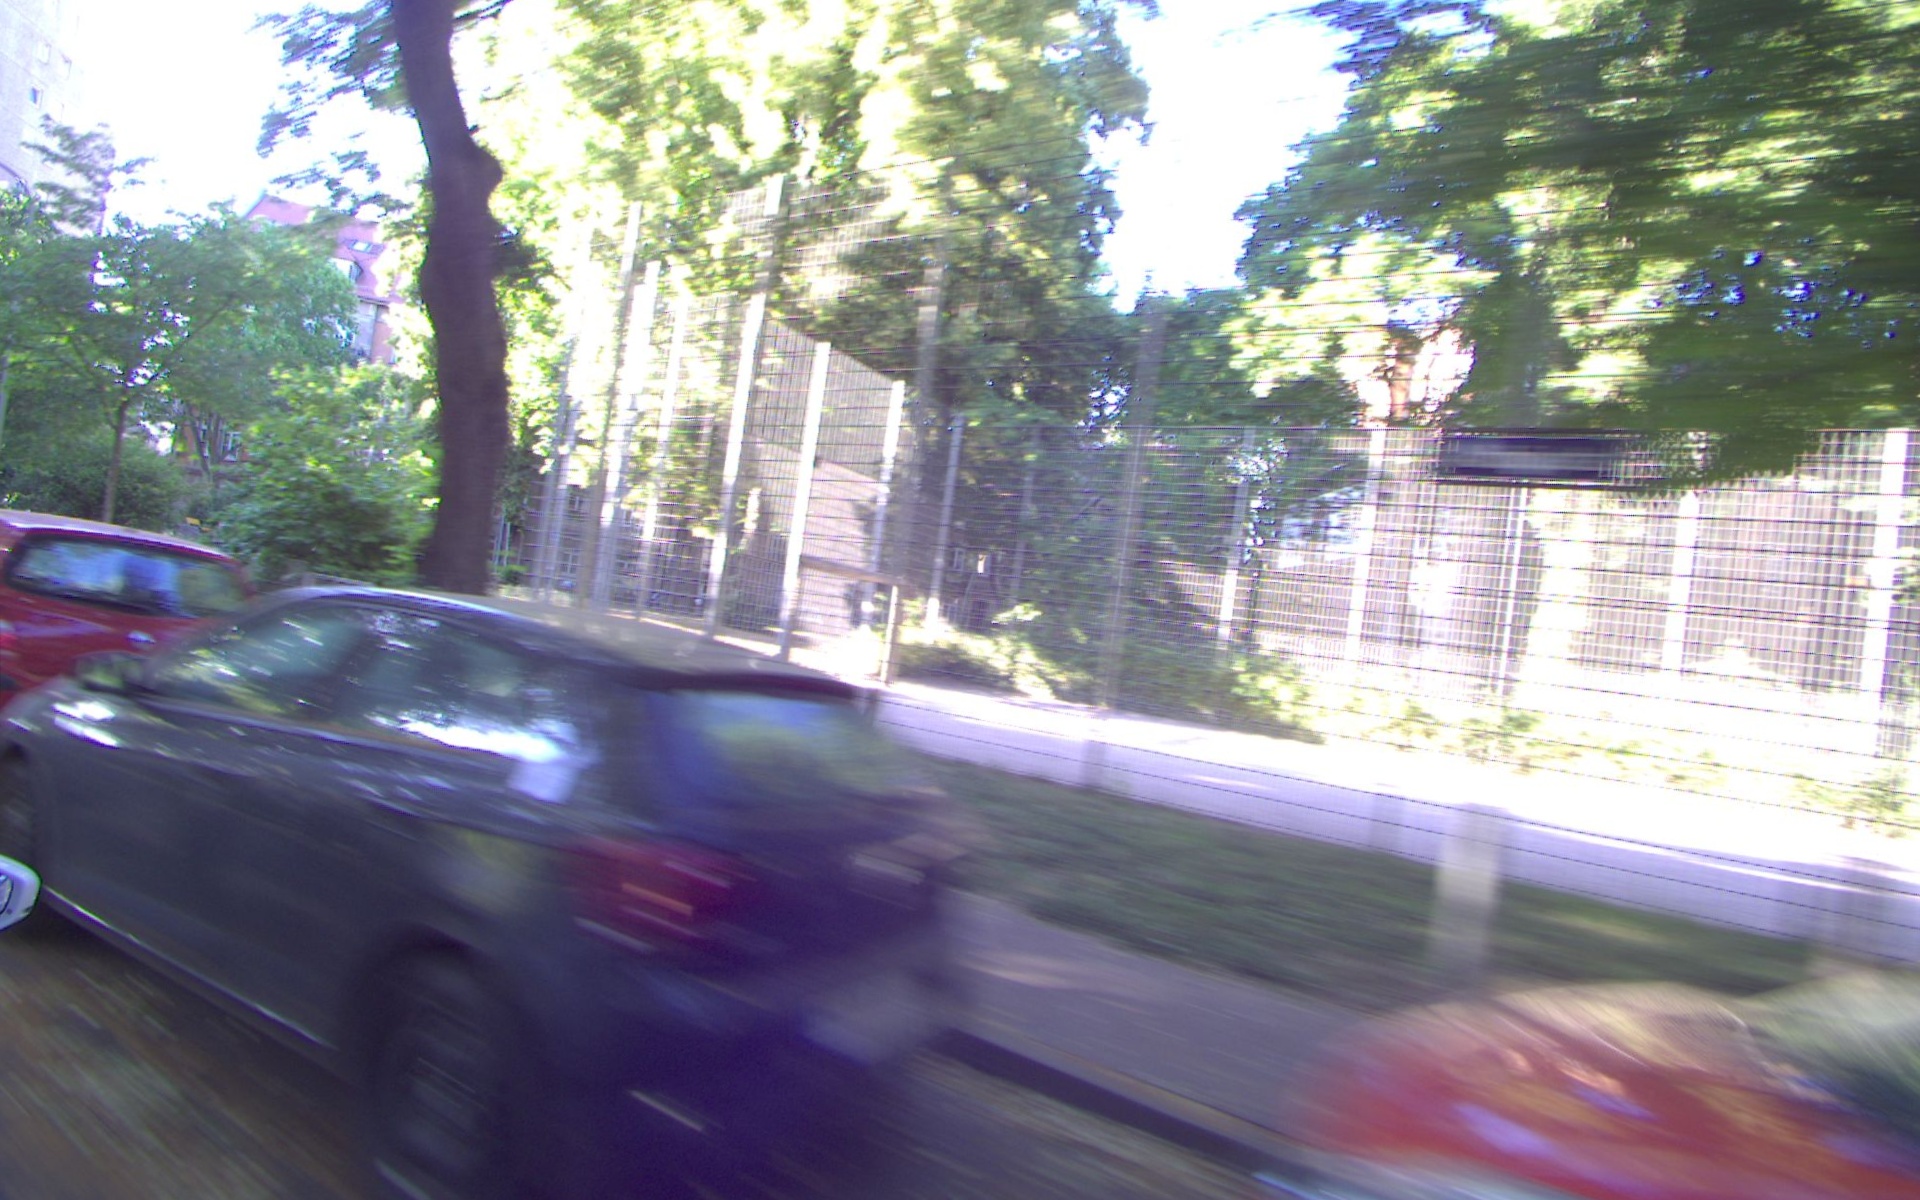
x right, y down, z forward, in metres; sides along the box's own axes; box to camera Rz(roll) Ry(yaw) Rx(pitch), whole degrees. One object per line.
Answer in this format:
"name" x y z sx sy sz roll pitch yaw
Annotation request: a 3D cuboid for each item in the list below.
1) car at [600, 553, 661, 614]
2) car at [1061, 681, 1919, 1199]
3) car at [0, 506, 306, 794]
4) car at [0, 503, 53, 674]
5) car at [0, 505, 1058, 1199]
"car" -15.838 -0.743 48.662 2.336 2.483 5.494 8 -2 -16
"car" 2.240 1.146 1.322 3.883 1.470 1.676 7 -3 31
"car" -6.083 0.160 6.552 3.496 1.470 1.594 7 -2 32
"car" -10.364 -0.360 9.368 4.009 1.470 1.684 7 -3 32
"car" -1.842 0.633 3.579 3.883 1.470 1.676 7 -3 31
